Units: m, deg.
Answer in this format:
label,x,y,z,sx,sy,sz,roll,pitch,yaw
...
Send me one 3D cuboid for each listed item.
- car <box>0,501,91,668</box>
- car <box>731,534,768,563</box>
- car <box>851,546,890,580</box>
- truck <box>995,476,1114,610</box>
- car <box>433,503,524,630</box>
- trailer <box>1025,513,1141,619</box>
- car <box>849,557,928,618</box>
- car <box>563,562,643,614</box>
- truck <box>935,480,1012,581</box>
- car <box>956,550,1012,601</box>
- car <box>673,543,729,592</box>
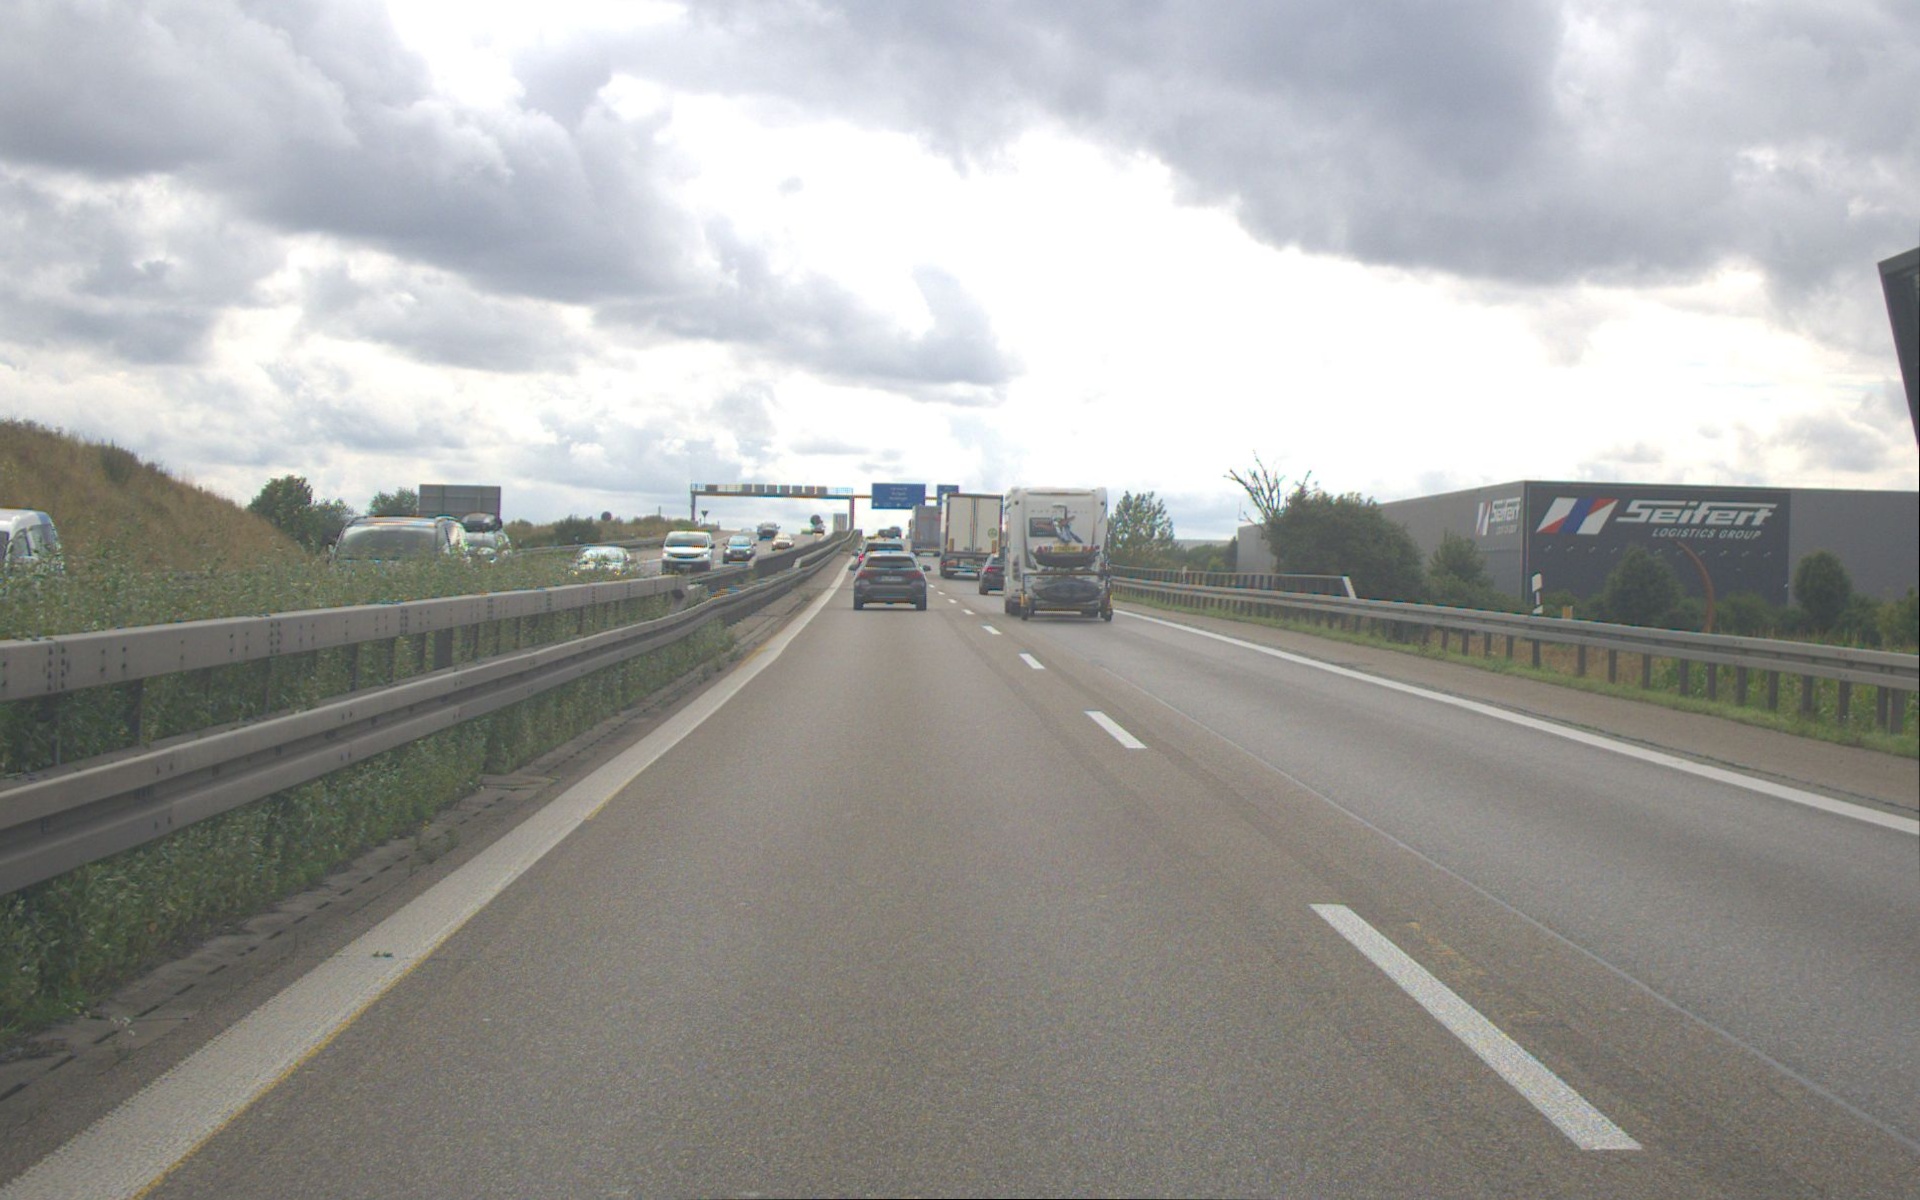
label,x,y,z,sx,sy,sz,roll,pitch,yaw
car,-12.554,-0.229,43.421,1.993,2.007,4.708,1,1,-1
car,-11.831,-2.880,193.593,1.841,1.571,4.000,1,0,-1
car,-4.922,-2.026,188.707,1.943,1.769,3.696,1,0,1
truck,2.159,-1.289,80.131,2.482,2.940,5.815,1,0,-1
car,-14.361,-0.986,102.691,1.996,3.652,5.116,1,0,-1
trailer,2.583,-0.709,72.904,2.338,2.129,4.000,1,0,1
car,-1.738,-0.304,85.011,1.746,1.448,4.000,1,0,1
car,-10.045,-0.327,96.983,1.811,1.397,4.406,1,0,-1
truck,0.594,-3.222,162.164,3.339,4.519,8.017,1,0,-1
car,0.815,-0.836,118.441,1.801,1.679,4.000,1,0,-1
car,-10.221,-1.258,136.125,1.828,1.878,5.419,1,0,-1
